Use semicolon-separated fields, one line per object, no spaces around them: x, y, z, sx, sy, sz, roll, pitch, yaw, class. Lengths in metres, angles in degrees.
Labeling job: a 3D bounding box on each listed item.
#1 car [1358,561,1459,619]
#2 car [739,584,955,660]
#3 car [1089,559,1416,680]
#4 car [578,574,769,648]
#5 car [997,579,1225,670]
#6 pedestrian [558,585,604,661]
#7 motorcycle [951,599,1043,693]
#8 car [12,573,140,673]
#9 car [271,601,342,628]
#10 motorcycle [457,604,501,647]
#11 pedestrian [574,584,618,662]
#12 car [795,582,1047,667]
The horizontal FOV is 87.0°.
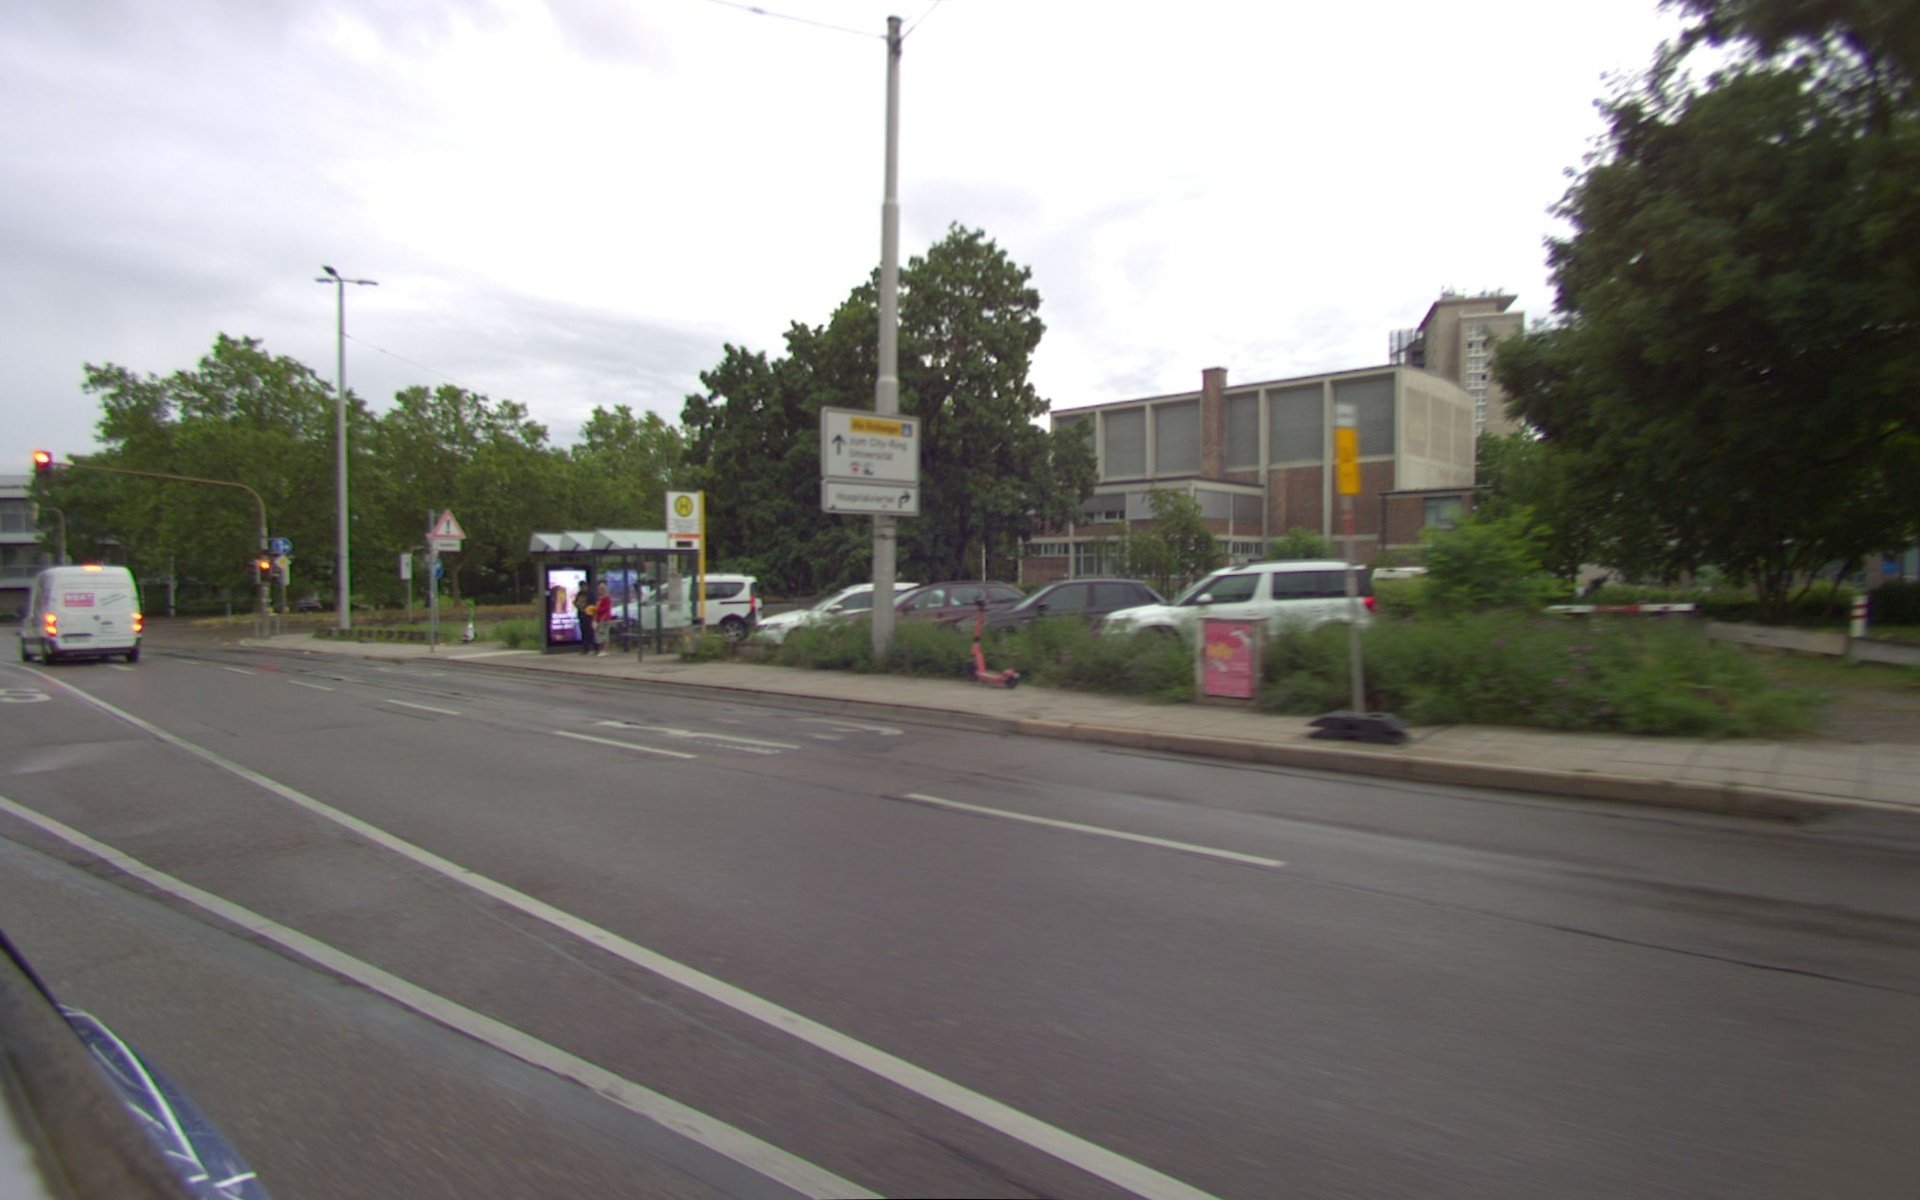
23.817;-0.574;53.584;6.121;2.781;2.742;-4;3;-44;car
-2.468;0.418;21.838;4.306;1.359;1.911;-3;2;-17;car
4.262;0.265;15.382;4.476;1.621;1.864;-2;2;10;car
-7.647;0.256;27.407;4.651;1.768;2.019;-2;2;-5;car
2.593;0.379;17.855;3.540;1.359;1.847;-2;2;-8;car
-8.756;0.514;23.408;0.671;1.708;0.678;0;2;35;pedestrian
0.519;0.621;14.356;1.268;1.256;0.509;0;2;44;motorcycle
-24.911;0.609;28.453;5.629;2.548;1.962;-1;0;41;car
-48.141;1.045;74.593;4.275;1.925;2.082;-1;0;-36;car
-14.568;0.761;30.647;1.262;1.256;0.511;-1;2;29;motorcycle
-8.197;0.499;22.808;0.641;1.708;0.622;0;2;35;pedestrian
-0.767;0.409;19.800;4.504;1.359;1.911;-3;2;-22;car
